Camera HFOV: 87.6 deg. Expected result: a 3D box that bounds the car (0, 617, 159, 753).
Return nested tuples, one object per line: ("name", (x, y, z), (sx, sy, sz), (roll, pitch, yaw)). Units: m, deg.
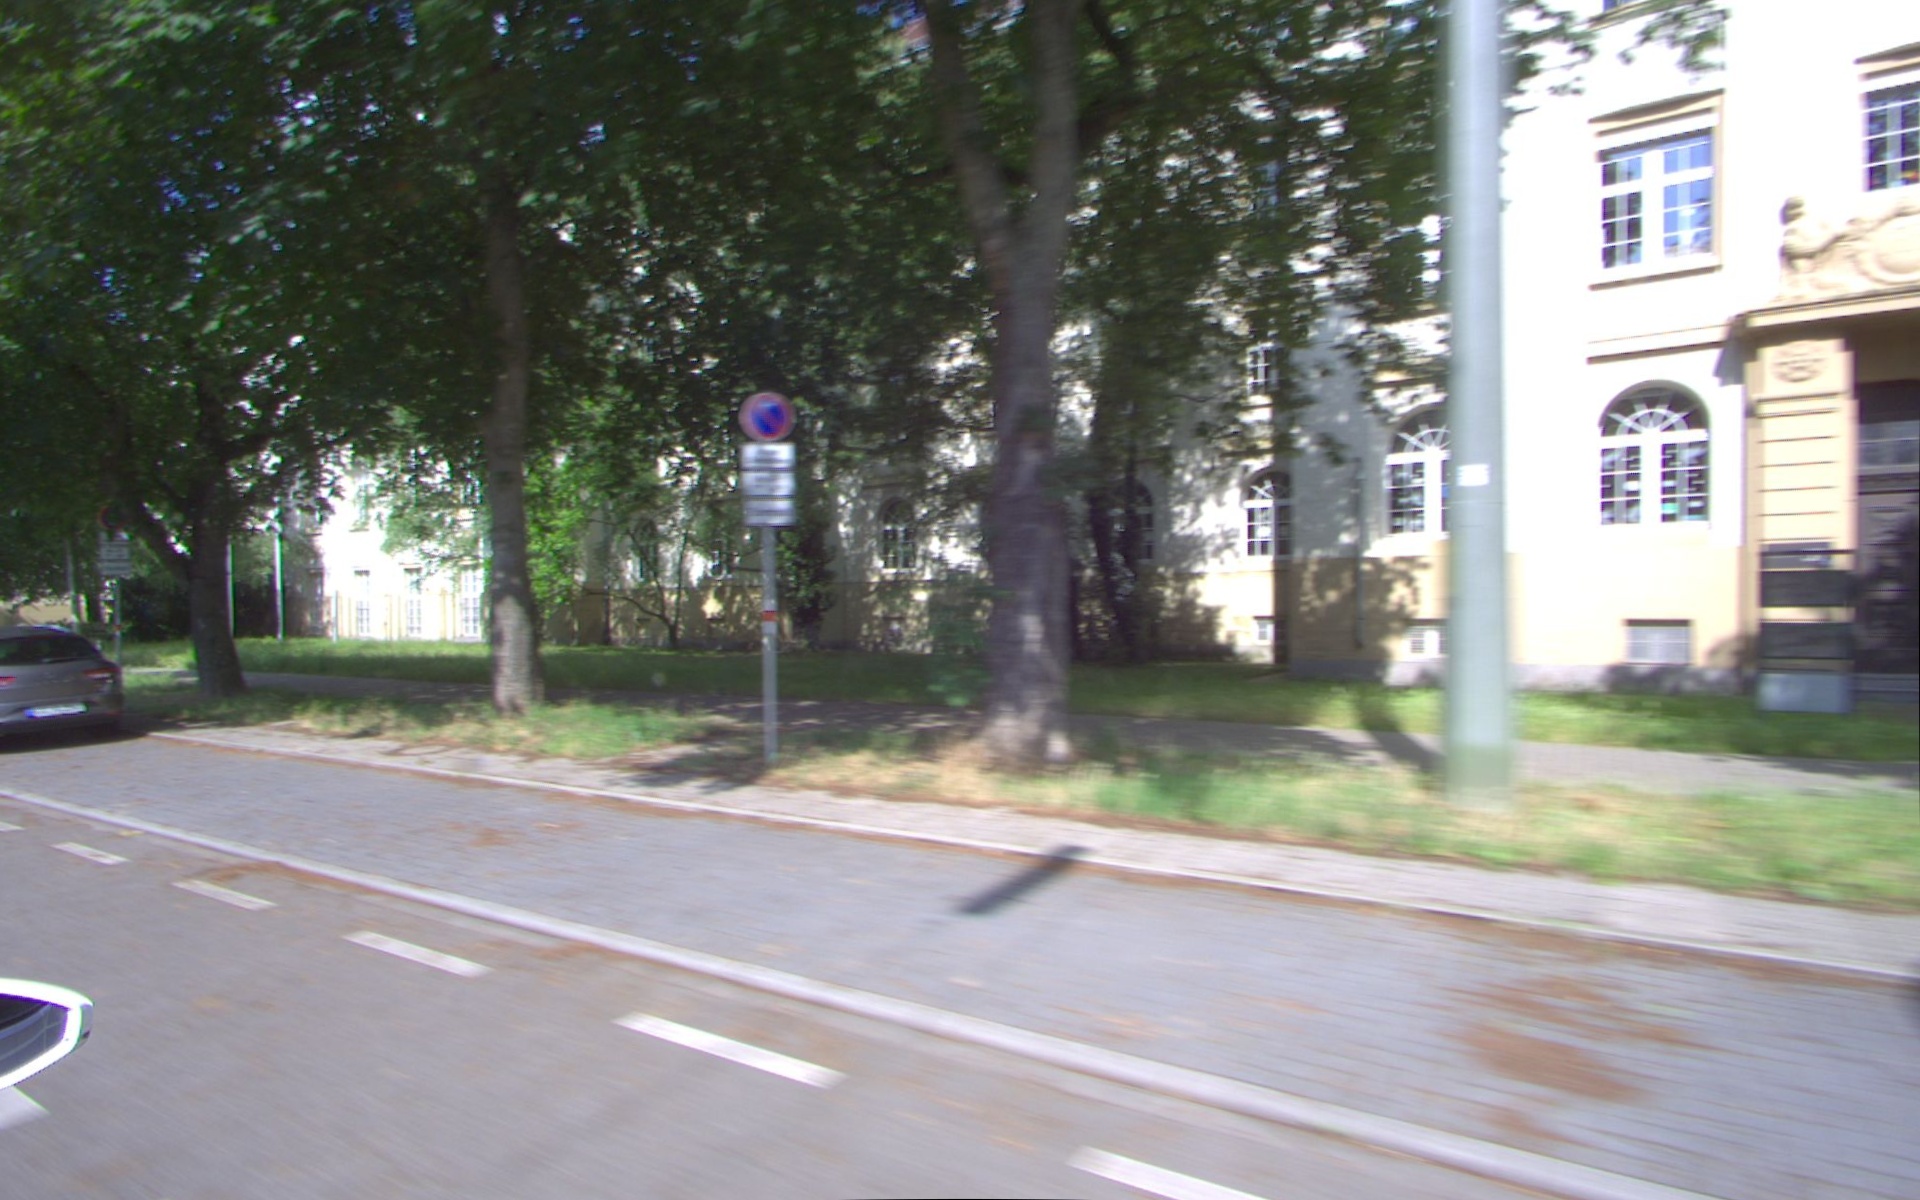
("car", (-12.524, 1.001, 12.969), (4.588, 1.420, 1.824), (0, 3, 31))
